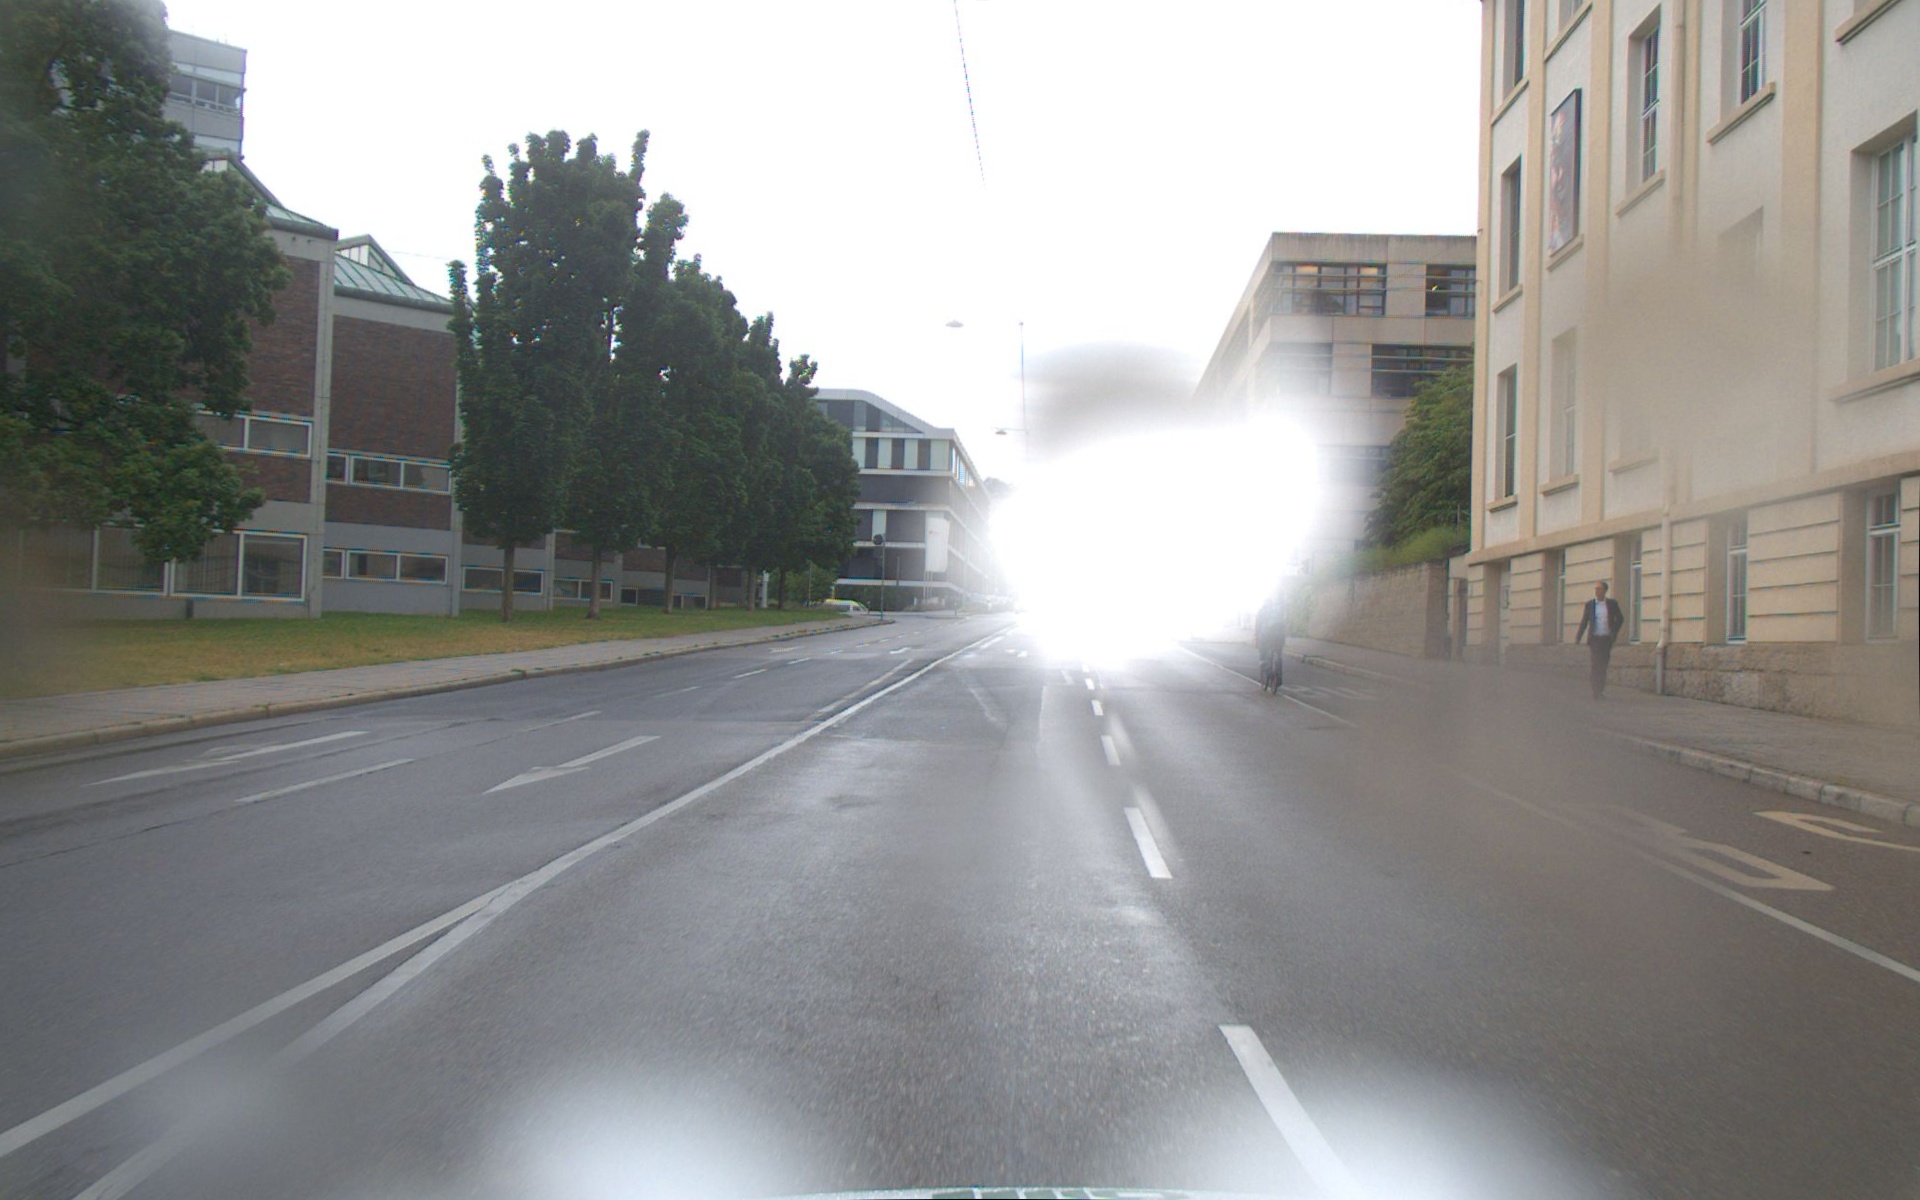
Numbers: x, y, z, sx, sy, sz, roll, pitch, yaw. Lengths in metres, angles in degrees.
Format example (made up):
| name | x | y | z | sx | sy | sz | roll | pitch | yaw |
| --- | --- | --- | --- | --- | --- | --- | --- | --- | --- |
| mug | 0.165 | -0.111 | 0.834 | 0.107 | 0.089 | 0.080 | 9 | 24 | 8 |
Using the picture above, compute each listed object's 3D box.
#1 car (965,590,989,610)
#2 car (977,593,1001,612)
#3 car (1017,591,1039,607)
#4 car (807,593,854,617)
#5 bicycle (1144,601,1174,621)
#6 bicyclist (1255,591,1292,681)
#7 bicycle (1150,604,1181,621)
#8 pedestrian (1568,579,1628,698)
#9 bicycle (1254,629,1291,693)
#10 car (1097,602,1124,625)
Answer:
| name | x | y | z | sx | sy | sz | roll | pitch | yaw |
| --- | --- | --- | --- | --- | --- | --- | --- | --- | --- |
| car | 1.559 | 0.006 | 150.278 | 1.811 | 1.646 | 4.493 | 3 | 0 | 4 |
| car | 2.914 | 0.240 | 167.151 | 1.921 | 1.780 | 4.945 | 3 | 0 | 6 |
| car | 6.726 | -0.119 | 163.972 | 1.841 | 1.517 | 5.223 | 0 | 0 | 6 |
| car | -12.781 | 0.500 | 163.567 | 4.498 | 2.212 | 1.930 | 3 | -1 | -2 |
| bicycle | 11.865 | 0.646 | 98.713 | 1.694 | 1.138 | 0.659 | 2 | -1 | -2 |
| bicyclist | 5.254 | 0.603 | 27.734 | 0.474 | 1.458 | 0.931 | 3 | -1 | 6 |
| bicycle | 12.145 | 0.733 | 97.712 | 1.722 | 0.970 | 0.660 | 2 | -1 | 0 |
| pedestrian | 10.025 | 0.593 | 25.994 | 0.656 | 1.829 | 0.852 | 1 | 0 | 5 |
| bicycle | 5.234 | 1.014 | 27.761 | 0.438 | 0.980 | 1.691 | 2 | 0 | 6 |
| car | 11.058 | 0.983 | 121.614 | 1.734 | 1.632 | 4.395 | 3 | 0 | 2 |
